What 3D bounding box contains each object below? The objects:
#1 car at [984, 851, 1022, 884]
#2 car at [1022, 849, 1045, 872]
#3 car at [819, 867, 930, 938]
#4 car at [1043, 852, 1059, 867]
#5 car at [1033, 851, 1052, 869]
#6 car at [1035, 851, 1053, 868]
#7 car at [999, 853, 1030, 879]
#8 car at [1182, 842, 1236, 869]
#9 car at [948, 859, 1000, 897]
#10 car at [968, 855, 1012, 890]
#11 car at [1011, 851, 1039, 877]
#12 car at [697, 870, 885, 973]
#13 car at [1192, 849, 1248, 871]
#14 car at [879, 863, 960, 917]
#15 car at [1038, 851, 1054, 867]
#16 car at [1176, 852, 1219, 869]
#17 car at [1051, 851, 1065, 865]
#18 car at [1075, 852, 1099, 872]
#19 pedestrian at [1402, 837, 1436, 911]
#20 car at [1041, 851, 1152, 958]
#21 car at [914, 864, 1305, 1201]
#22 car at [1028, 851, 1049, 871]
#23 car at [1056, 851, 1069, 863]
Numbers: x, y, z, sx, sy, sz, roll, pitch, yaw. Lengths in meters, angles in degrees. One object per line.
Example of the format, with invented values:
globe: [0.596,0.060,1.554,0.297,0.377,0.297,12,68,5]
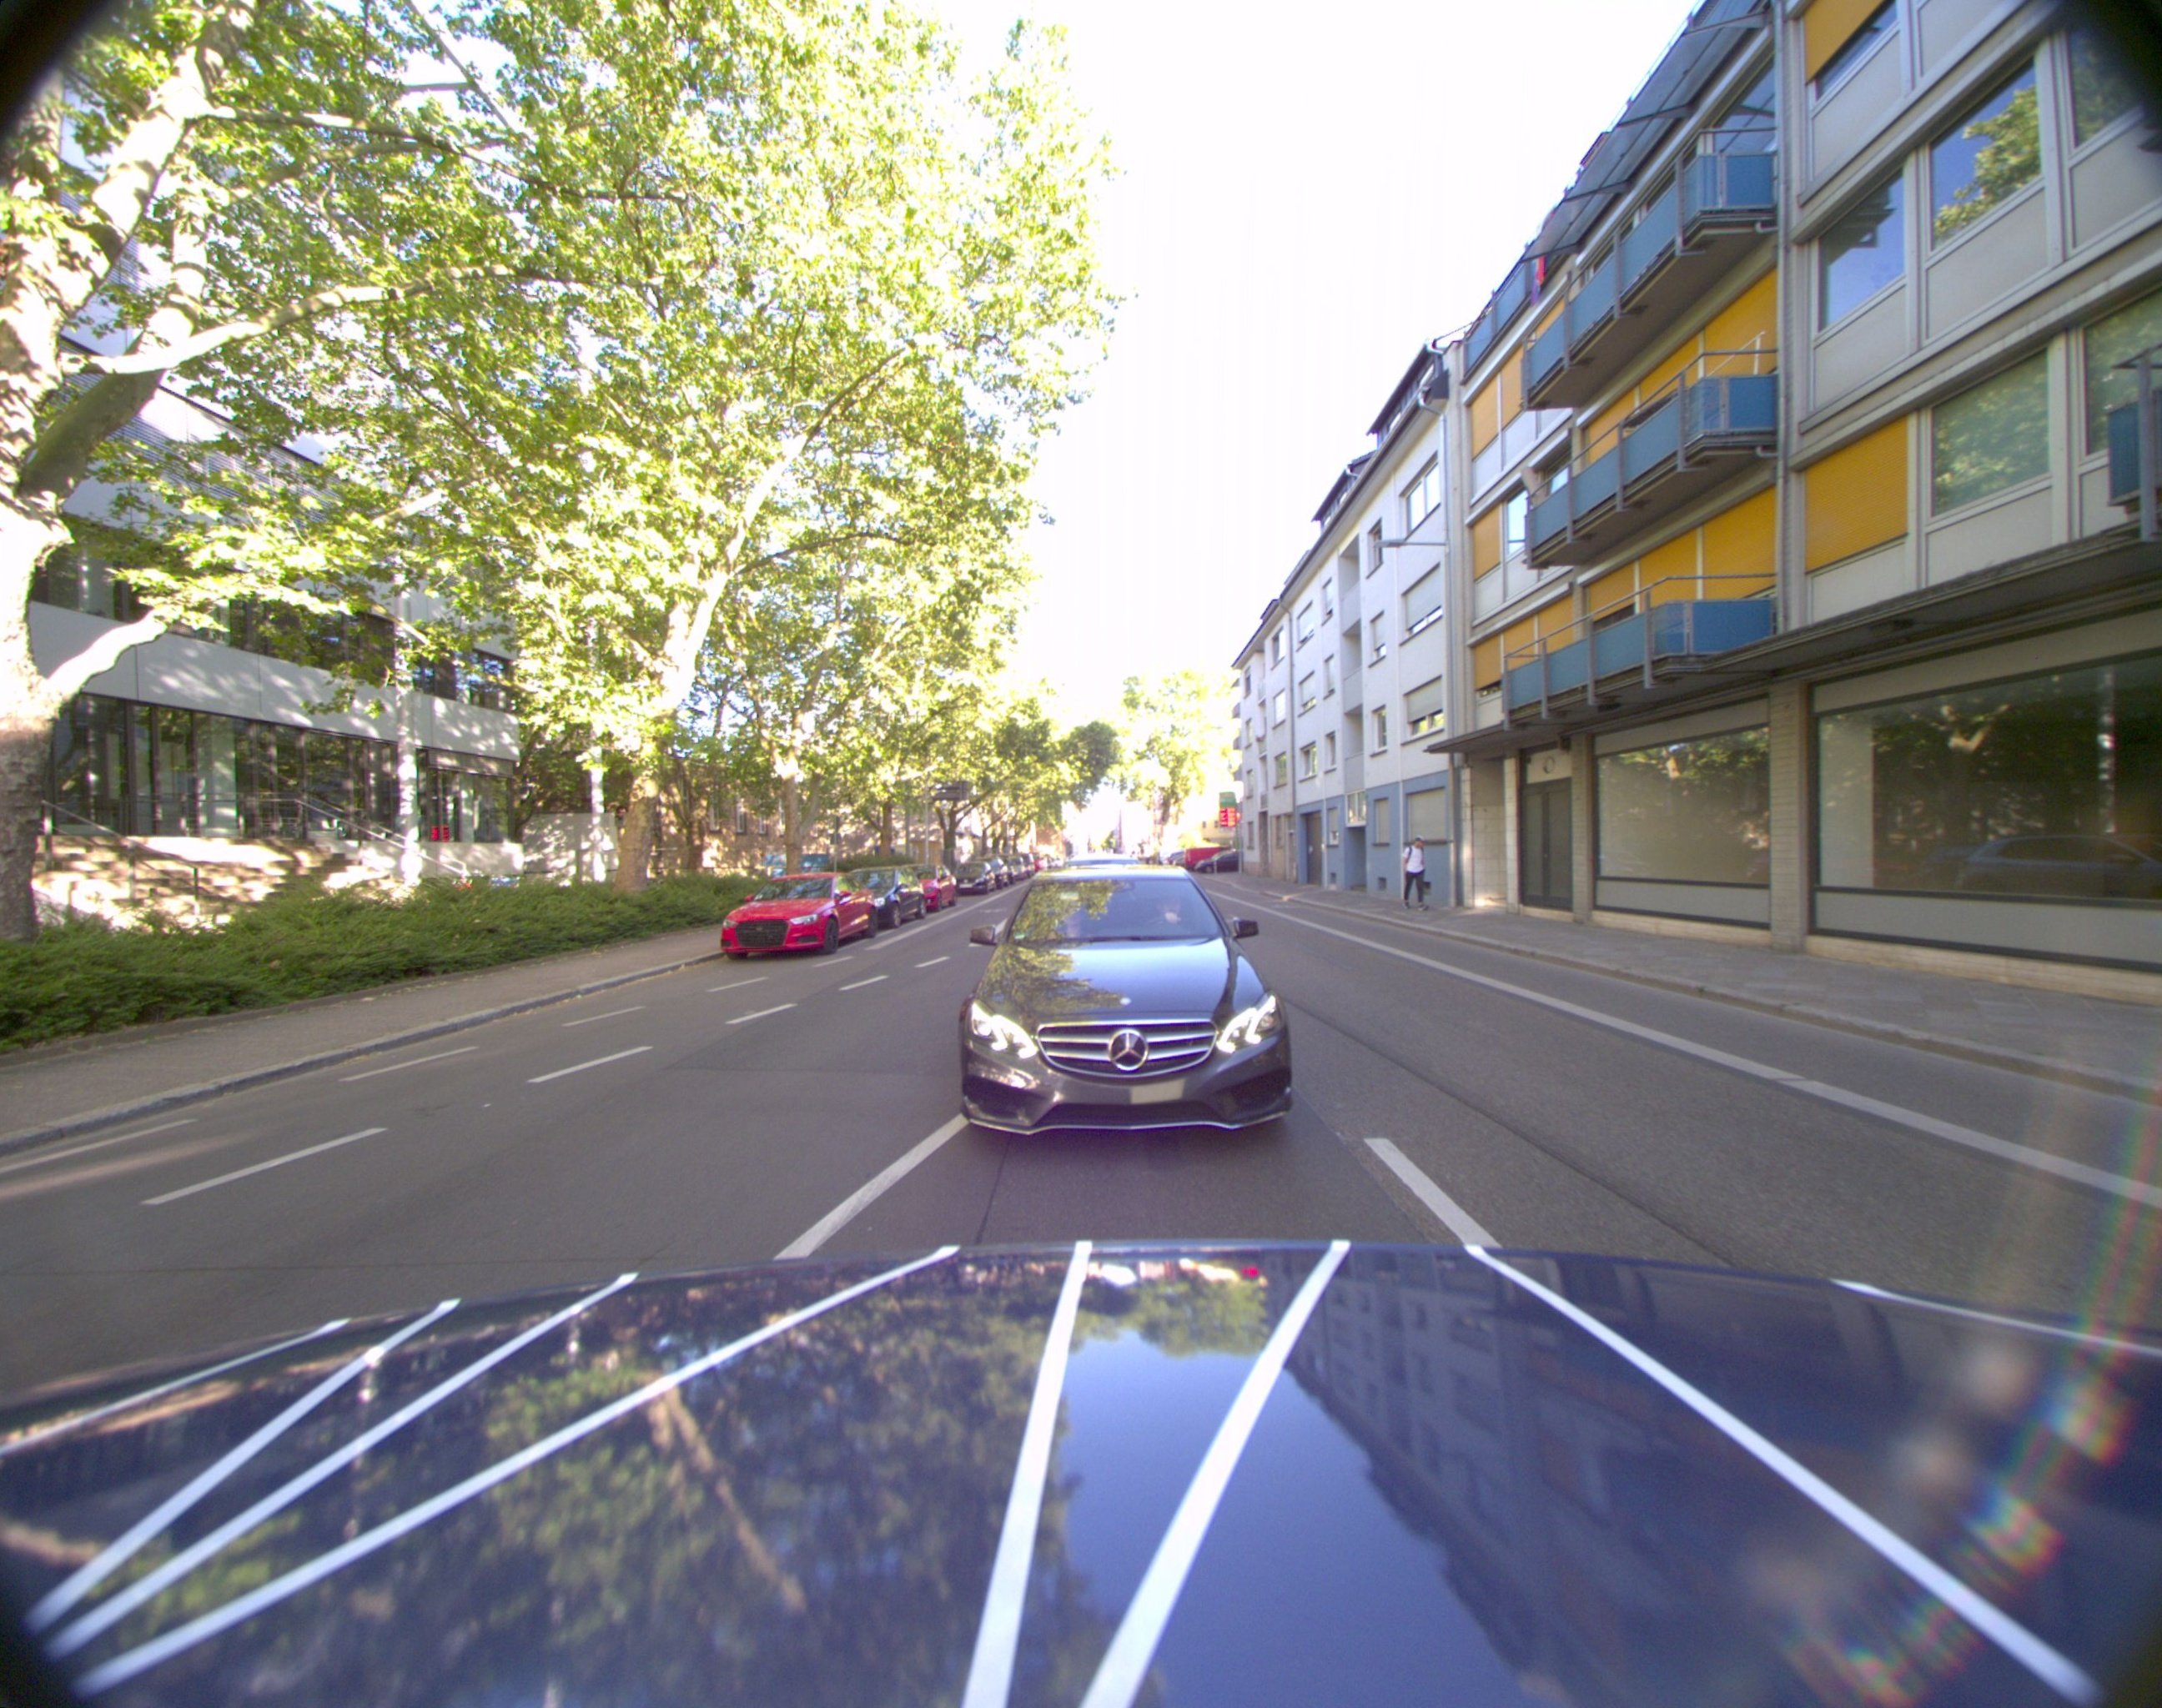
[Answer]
car: [-4.507,0.740,44.329,1.635,1.795,3.845,-3,0,1]
car: [-4.156,0.524,66.668,1.635,1.878,3.673,-3,0,1]
car: [-5.000,1.120,18.932,1.635,1.455,3.740,-3,0,1]
car: [-3.650,0.702,92.577,1.635,1.713,3.673,-3,0,1]
car: [-3.946,0.560,78.591,1.635,1.713,3.673,-3,0,1]
car: [-3.966,0.558,82.533,1.635,1.713,3.673,-3,0,1]
car: [-4.452,0.768,51.148,1.635,1.644,3.845,-3,0,1]
car: [10.134,0.138,60.460,3.927,1.912,1.636,-3,1,1]
car: [-4.688,1.003,33.654,1.635,1.455,3.740,-3,0,1]
car: [-4.532,0.869,38.431,1.635,1.578,3.845,-3,0,1]
car: [-4.116,0.689,55.979,1.635,1.799,3.673,-3,0,1]
car: [-5.139,1.116,14.137,1.804,1.455,4.125,-3,0,1]
car: [10.050,0.444,55.154,3.670,1.403,1.636,-3,1,1]
car: [-5.008,1.077,24.048,1.635,1.455,3.740,-3,0,1]
car: [-3.975,0.551,86.692,1.635,1.713,3.673,-3,0,1]
car: [9.648,0.498,63.142,3.325,1.241,1.295,-3,1,1]
car: [-3.080,0.543,103.237,1.635,1.713,3.673,-3,0,1]
car: [0.490,0.647,61.506,1.853,1.455,4.098,-3,0,1]
pedestrian: [8.051,0.475,18.105,0.569,1.716,0.343,-3,1,1]
car: [0.276,0.799,14.141,1.680,1.622,4.125,-3,0,1]
car: [0.163,0.888,5.704,1.804,1.455,4.125,-3,0,1]
car: [-3.958,0.612,71.216,1.635,1.713,3.673,-3,0,1]
car: [-2.705,0.448,110.176,1.635,1.713,3.673,-3,0,1]
